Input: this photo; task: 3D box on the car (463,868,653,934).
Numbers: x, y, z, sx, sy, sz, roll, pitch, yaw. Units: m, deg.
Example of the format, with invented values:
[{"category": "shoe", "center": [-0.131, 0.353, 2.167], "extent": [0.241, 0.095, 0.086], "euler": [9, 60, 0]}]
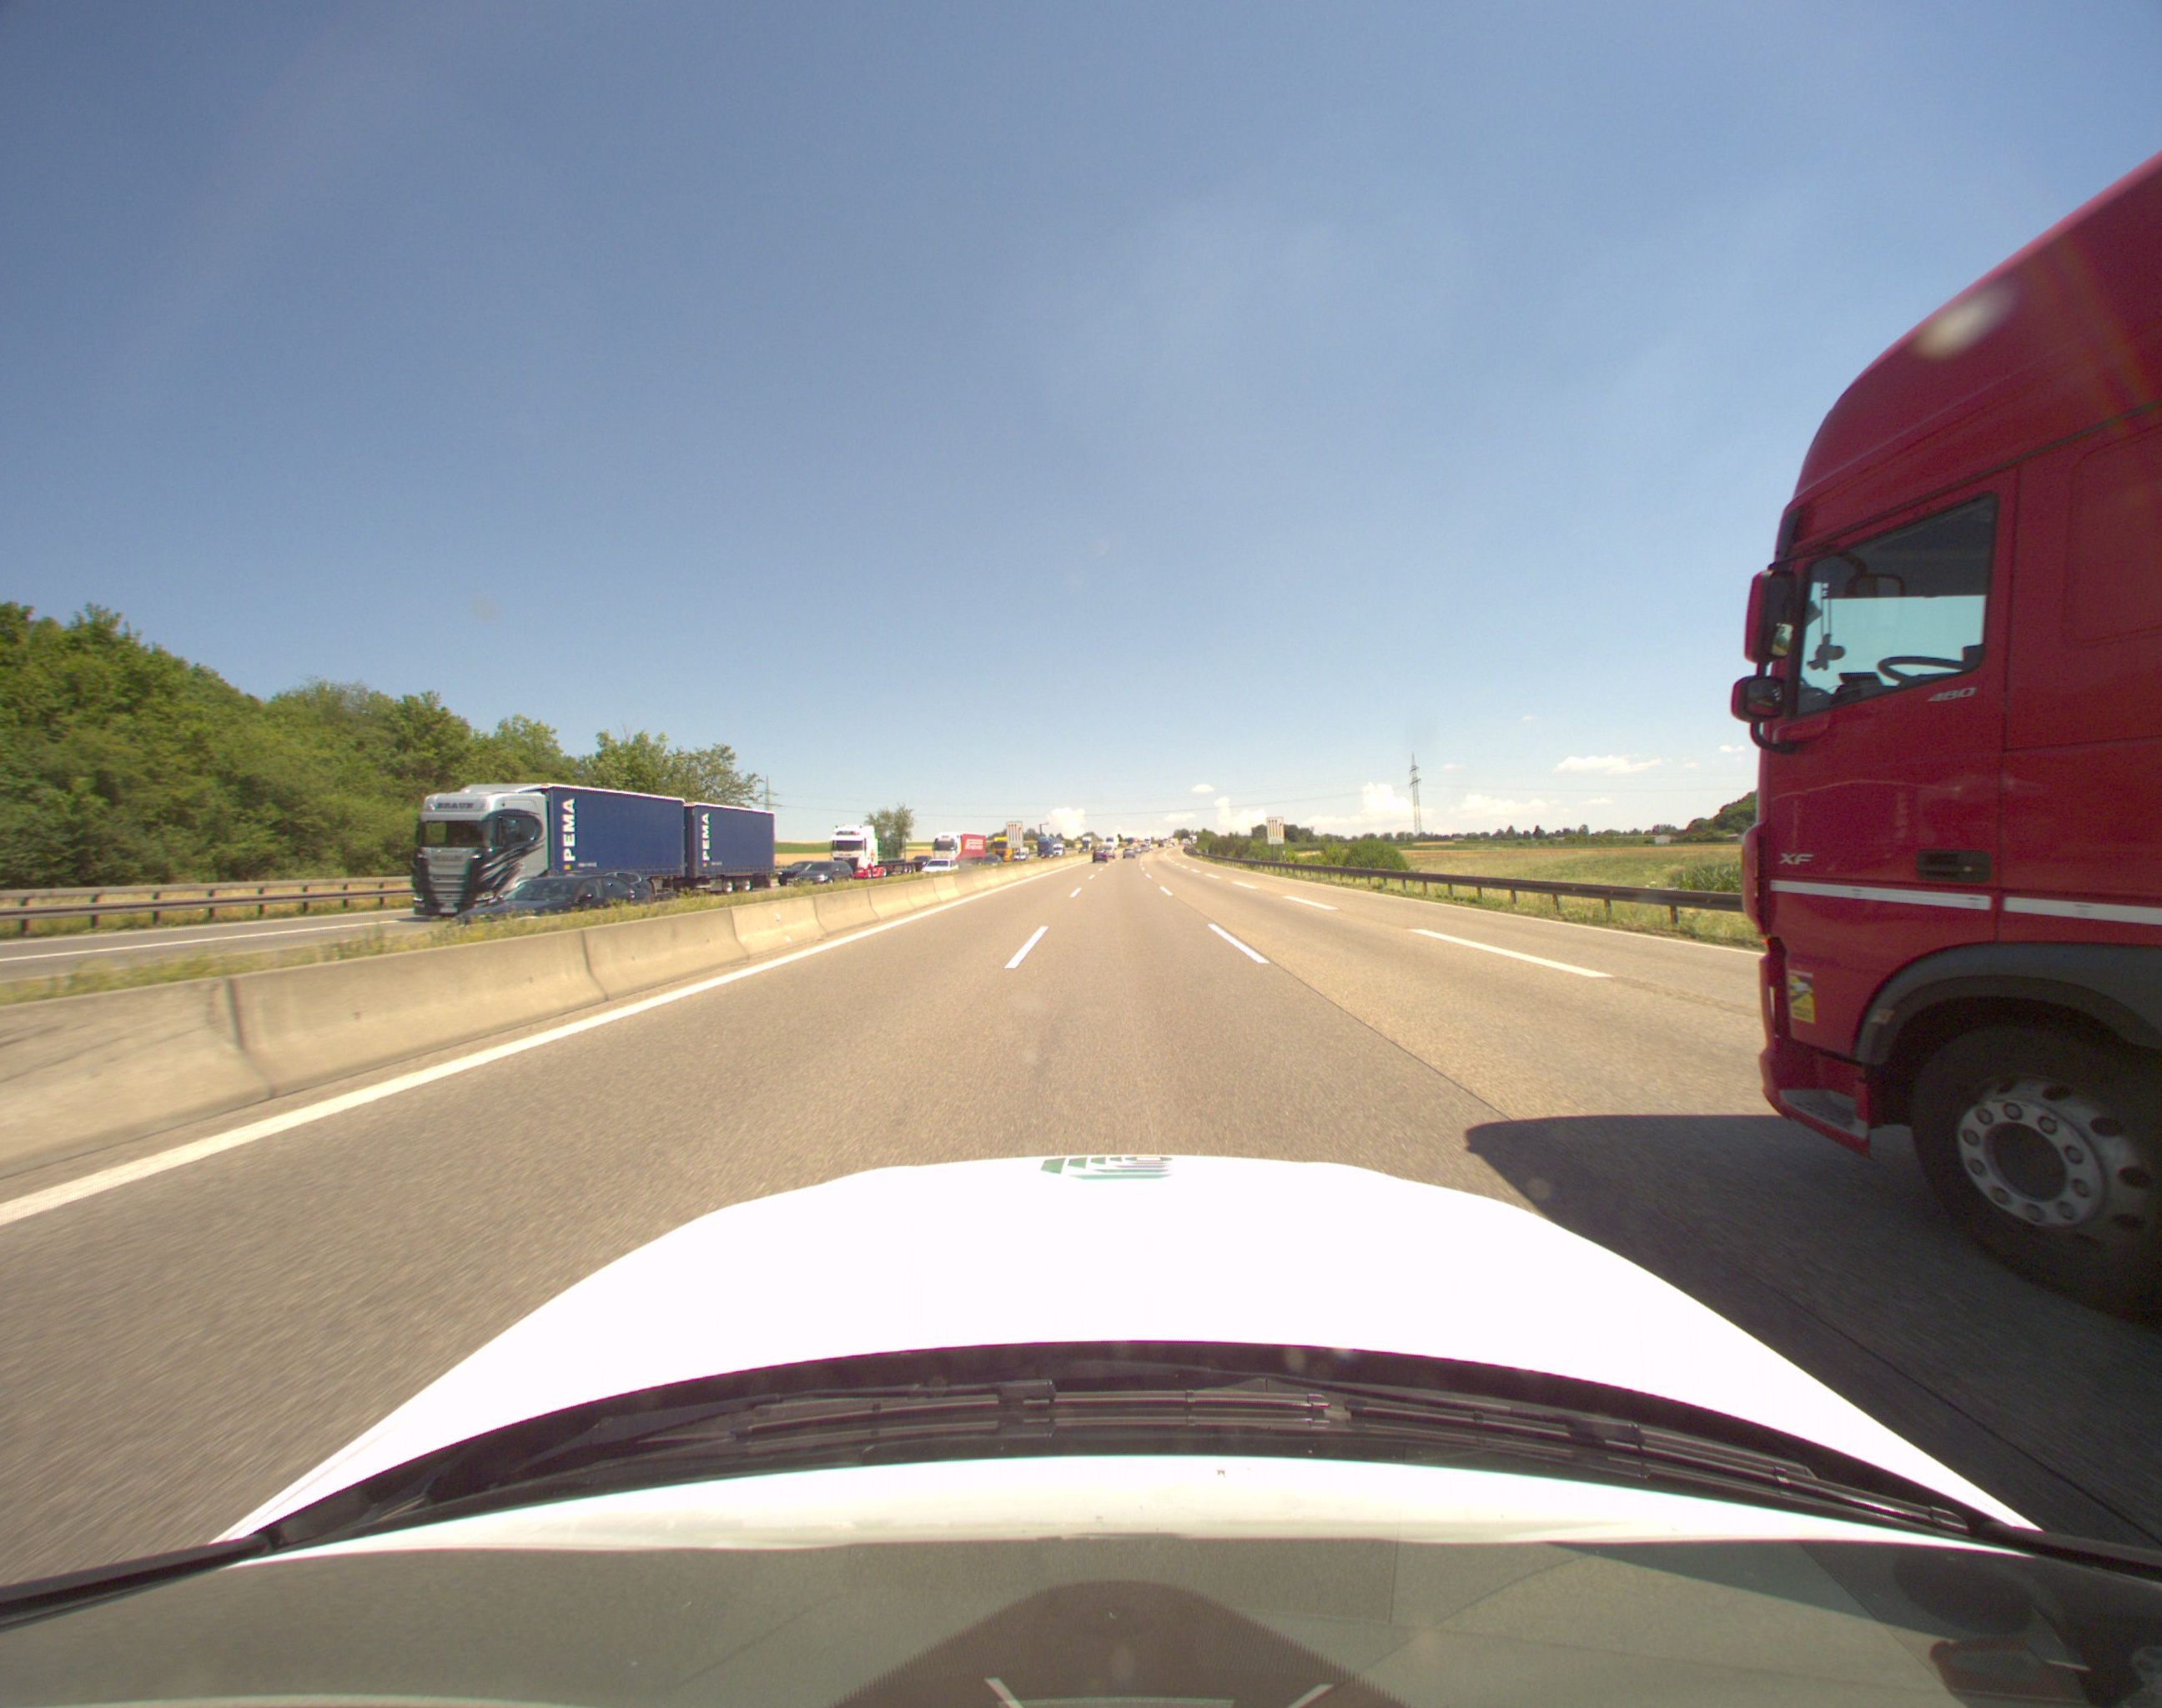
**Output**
[{"category": "car", "center": [-14.041, 1.195, 22.281], "extent": [1.986, 1.527, 4.775], "euler": [-1, 0, 2]}]

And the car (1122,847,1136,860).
[{"category": "car", "center": [7.430, -0.078, 126.659], "extent": [1.985, 1.750, 4.002], "euler": [-1, -2, 2]}]

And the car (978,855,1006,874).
[{"category": "car", "center": [-7.984, 0.952, 73.289], "extent": [1.830, 1.583, 4.557], "euler": [-1, 0, 2]}]

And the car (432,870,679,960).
[{"category": "car", "center": [-10.716, 1.156, 17.158], "extent": [1.986, 1.527, 4.775], "euler": [-1, 0, 2]}]

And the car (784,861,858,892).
[{"category": "car", "center": [-13.368, 1.106, 42.289], "extent": [1.986, 1.455, 5.172], "euler": [-1, 0, 2]}]

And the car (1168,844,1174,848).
[{"category": "car", "center": [28.833, -2.589, 260.435], "extent": [1.891, 1.442, 4.010], "euler": [-1, 1, 9]}]

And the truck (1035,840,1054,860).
[{"category": "truck", "center": [-7.574, -0.822, 169.521], "extent": [3.061, 4.090, 6.947], "euler": [-1, 0, 6]}]

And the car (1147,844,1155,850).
[{"category": "car", "center": [19.377, -1.844, 226.234], "extent": [1.983, 1.552, 4.008], "euler": [0, 1, 7]}]

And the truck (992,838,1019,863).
[{"category": "truck", "center": [-11.643, -0.569, 126.109], "extent": [2.737, 3.837, 7.110], "euler": [-1, 1, 6]}]

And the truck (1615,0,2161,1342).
[{"category": "truck", "center": [4.589, -0.589, 1.591], "extent": [2.906, 4.009, 6.512], "euler": [-1, -1, 1]}]

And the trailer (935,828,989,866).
[{"category": "trailer", "center": [-13.874, -0.809, 96.565], "extent": [3.071, 4.100, 14.401], "euler": [-1, 0, 5]}]

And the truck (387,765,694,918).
[{"category": "truck", "center": [-17.728, -0.370, 28.220], "extent": [2.989, 4.234, 10.741], "euler": [-1, 0, 3]}]

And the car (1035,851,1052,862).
[{"category": "car", "center": [-5.656, 0.343, 123.642], "extent": [2.041, 1.696, 5.259], "euler": [-1, 0, 2]}]

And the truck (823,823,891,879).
[{"category": "truck", "center": [-16.176, -0.219, 59.308], "extent": [2.889, 3.876, 6.182], "euler": [-1, 0, 3]}]

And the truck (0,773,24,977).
[{"category": "truck", "center": [-18.329, 0.359, 9.277], "extent": [2.529, 3.207, 7.590], "euler": [-1, 0, 1]}]

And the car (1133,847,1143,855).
[{"category": "car", "center": [12.419, -0.719, 176.716], "extent": [1.984, 1.585, 4.004], "euler": [-2, -1, 4]}]

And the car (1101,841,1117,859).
[{"category": "car", "center": [4.297, -0.635, 125.602], "extent": [2.169, 2.625, 4.679], "euler": [-1, -2, 6]}]

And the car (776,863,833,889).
[{"category": "car", "center": [-16.418, 1.279, 48.542], "extent": [1.650, 1.431, 4.651], "euler": [-1, 0, 2]}]

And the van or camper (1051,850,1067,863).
[{"category": "van or camper", "center": [-4.307, 0.498, 159.856], "extent": [2.301, 2.586, 7.151], "euler": [-1, 0, 4]}]

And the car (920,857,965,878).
[{"category": "car", "center": [-8.874, 0.902, 52.521], "extent": [1.830, 1.285, 4.877], "euler": [-1, -2, 2]}]

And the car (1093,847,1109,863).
[{"category": "car", "center": [2.471, 0.108, 98.789], "extent": [1.840, 1.861, 4.208], "euler": [-1, 1, 2]}]

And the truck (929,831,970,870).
[{"category": "truck", "center": [-14.421, -0.403, 90.085], "extent": [3.022, 4.081, 6.322], "euler": [-1, 0, 4]}]

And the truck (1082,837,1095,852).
[{"category": "truck", "center": [2.197, -2.692, 242.305], "extent": [3.114, 4.327, 6.161], "euler": [-1, 0, 8]}]

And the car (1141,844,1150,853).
[{"category": "car", "center": [15.470, -1.345, 195.942], "extent": [1.986, 1.904, 4.002], "euler": [-1, -2, 2]}]

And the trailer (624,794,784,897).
[{"category": "trailer", "center": [-17.216, -0.365, 38.062], "extent": [2.973, 4.192, 8.602], "euler": [-1, 0, 3]}]

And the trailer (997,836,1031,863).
[{"category": "trailer", "center": [-10.840, -0.769, 133.528], "extent": [2.938, 4.100, 14.406], "euler": [-1, 1, 6]}]

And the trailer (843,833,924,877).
[{"category": "trailer", "center": [-15.774, 0.011, 66.466], "extent": [2.846, 3.206, 12.793], "euler": [-1, 0, 3]}]

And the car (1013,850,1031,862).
[{"category": "car", "center": [-8.530, 0.269, 118.090], "extent": [1.906, 1.772, 4.765], "euler": [-1, 0, 2]}]

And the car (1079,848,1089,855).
[{"category": "car", "center": [0.709, -0.657, 200.826], "extent": [1.904, 1.541, 5.750], "euler": [-1, 0, 5]}]
